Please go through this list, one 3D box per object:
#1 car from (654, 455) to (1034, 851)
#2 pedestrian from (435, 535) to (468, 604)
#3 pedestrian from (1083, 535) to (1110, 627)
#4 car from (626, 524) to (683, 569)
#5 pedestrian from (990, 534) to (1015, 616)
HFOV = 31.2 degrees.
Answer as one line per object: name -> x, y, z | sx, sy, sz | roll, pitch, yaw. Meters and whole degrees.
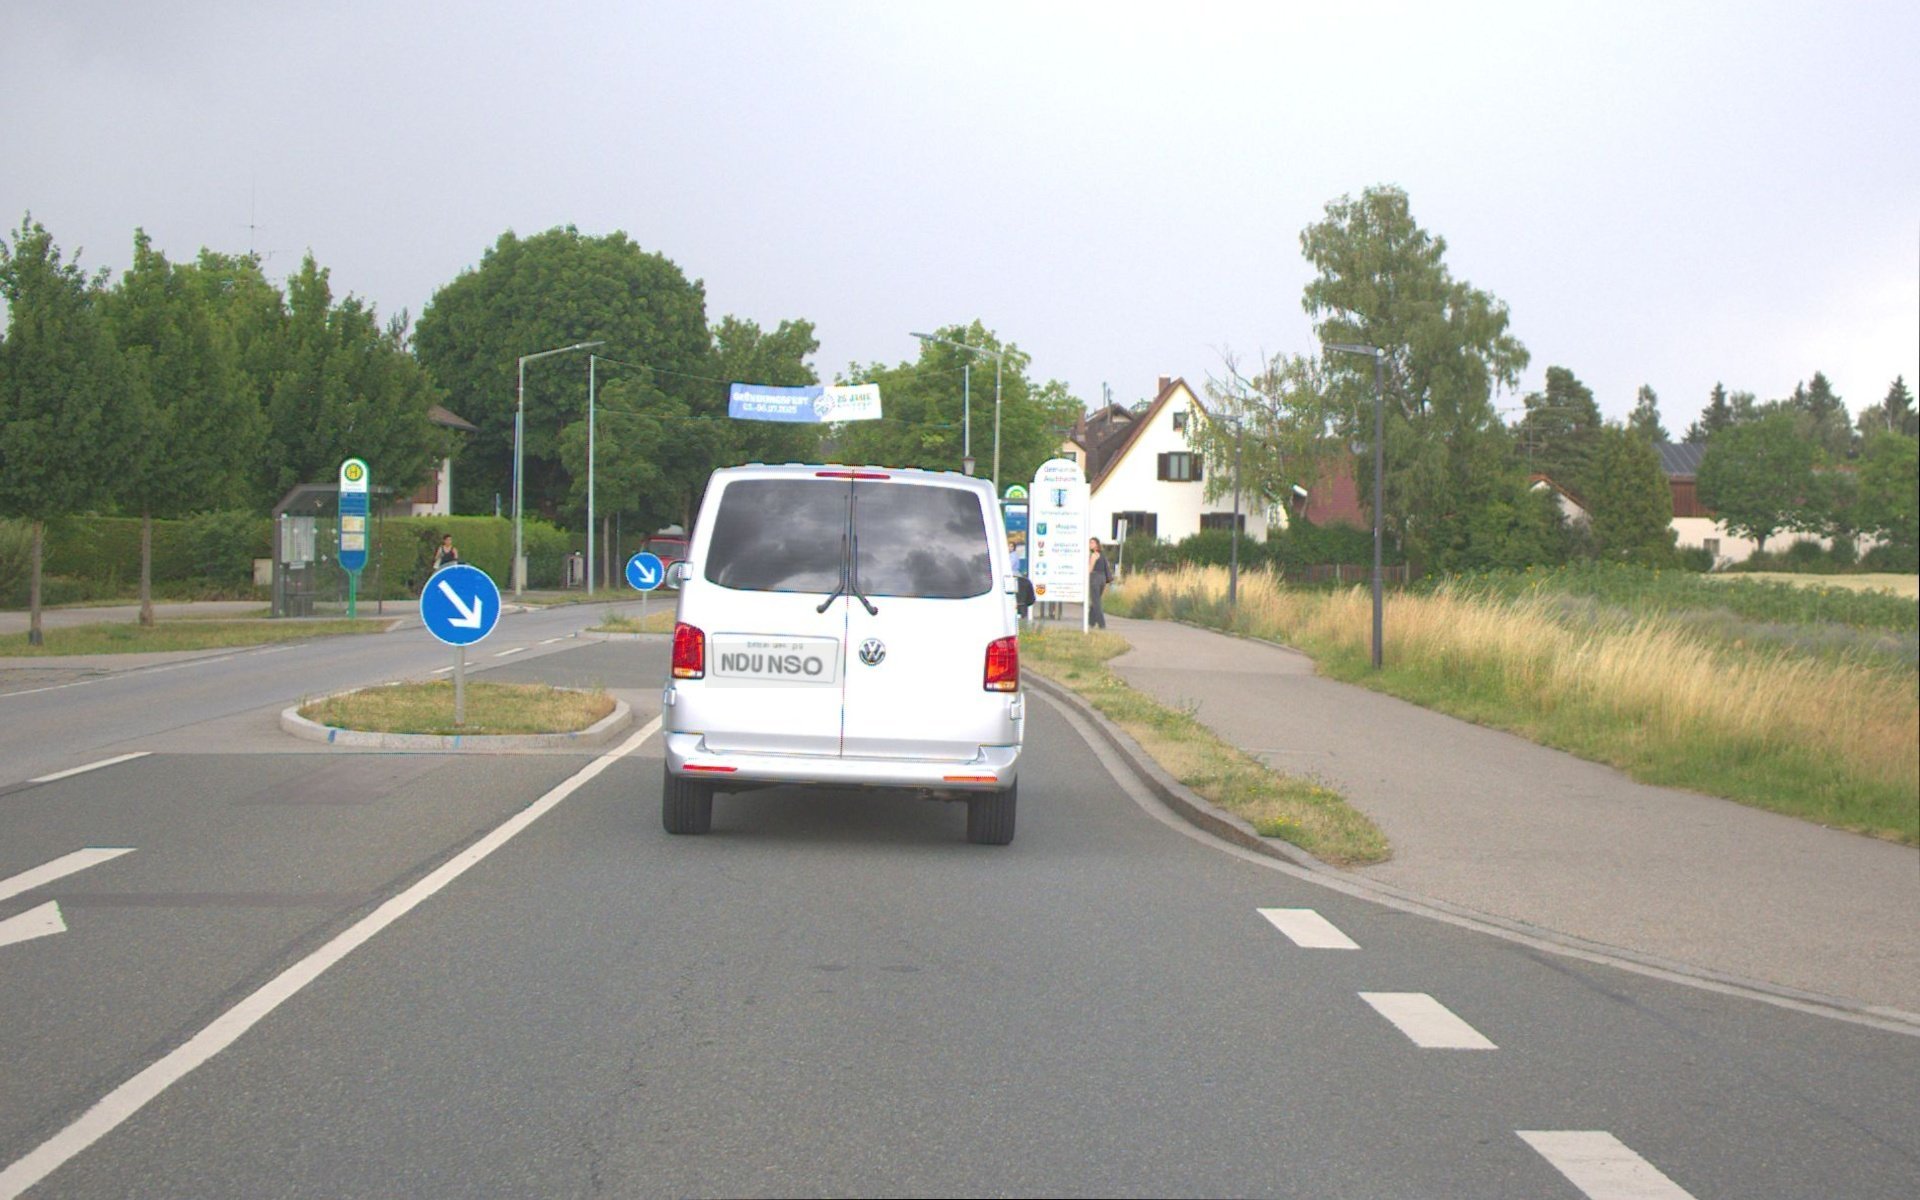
car -> -0.670, 0.219, 19.047 | 1.825, 1.907, 4.001 | 2, 1, -3
pedestrian -> -11.260, -0.675, 76.195 | 0.623, 1.519, 0.680 | -1, 1, -1
pedestrian -> 2.597, -0.364, 65.494 | 0.485, 1.726, 0.642 | -1, 1, 3
car -> -10.201, -1.801, 114.977 | 1.653, 1.424, 3.603 | -1, 1, -1
pedestrian -> 0.897, -0.542, 73.032 | 0.485, 1.726, 0.642 | -1, 1, -2
